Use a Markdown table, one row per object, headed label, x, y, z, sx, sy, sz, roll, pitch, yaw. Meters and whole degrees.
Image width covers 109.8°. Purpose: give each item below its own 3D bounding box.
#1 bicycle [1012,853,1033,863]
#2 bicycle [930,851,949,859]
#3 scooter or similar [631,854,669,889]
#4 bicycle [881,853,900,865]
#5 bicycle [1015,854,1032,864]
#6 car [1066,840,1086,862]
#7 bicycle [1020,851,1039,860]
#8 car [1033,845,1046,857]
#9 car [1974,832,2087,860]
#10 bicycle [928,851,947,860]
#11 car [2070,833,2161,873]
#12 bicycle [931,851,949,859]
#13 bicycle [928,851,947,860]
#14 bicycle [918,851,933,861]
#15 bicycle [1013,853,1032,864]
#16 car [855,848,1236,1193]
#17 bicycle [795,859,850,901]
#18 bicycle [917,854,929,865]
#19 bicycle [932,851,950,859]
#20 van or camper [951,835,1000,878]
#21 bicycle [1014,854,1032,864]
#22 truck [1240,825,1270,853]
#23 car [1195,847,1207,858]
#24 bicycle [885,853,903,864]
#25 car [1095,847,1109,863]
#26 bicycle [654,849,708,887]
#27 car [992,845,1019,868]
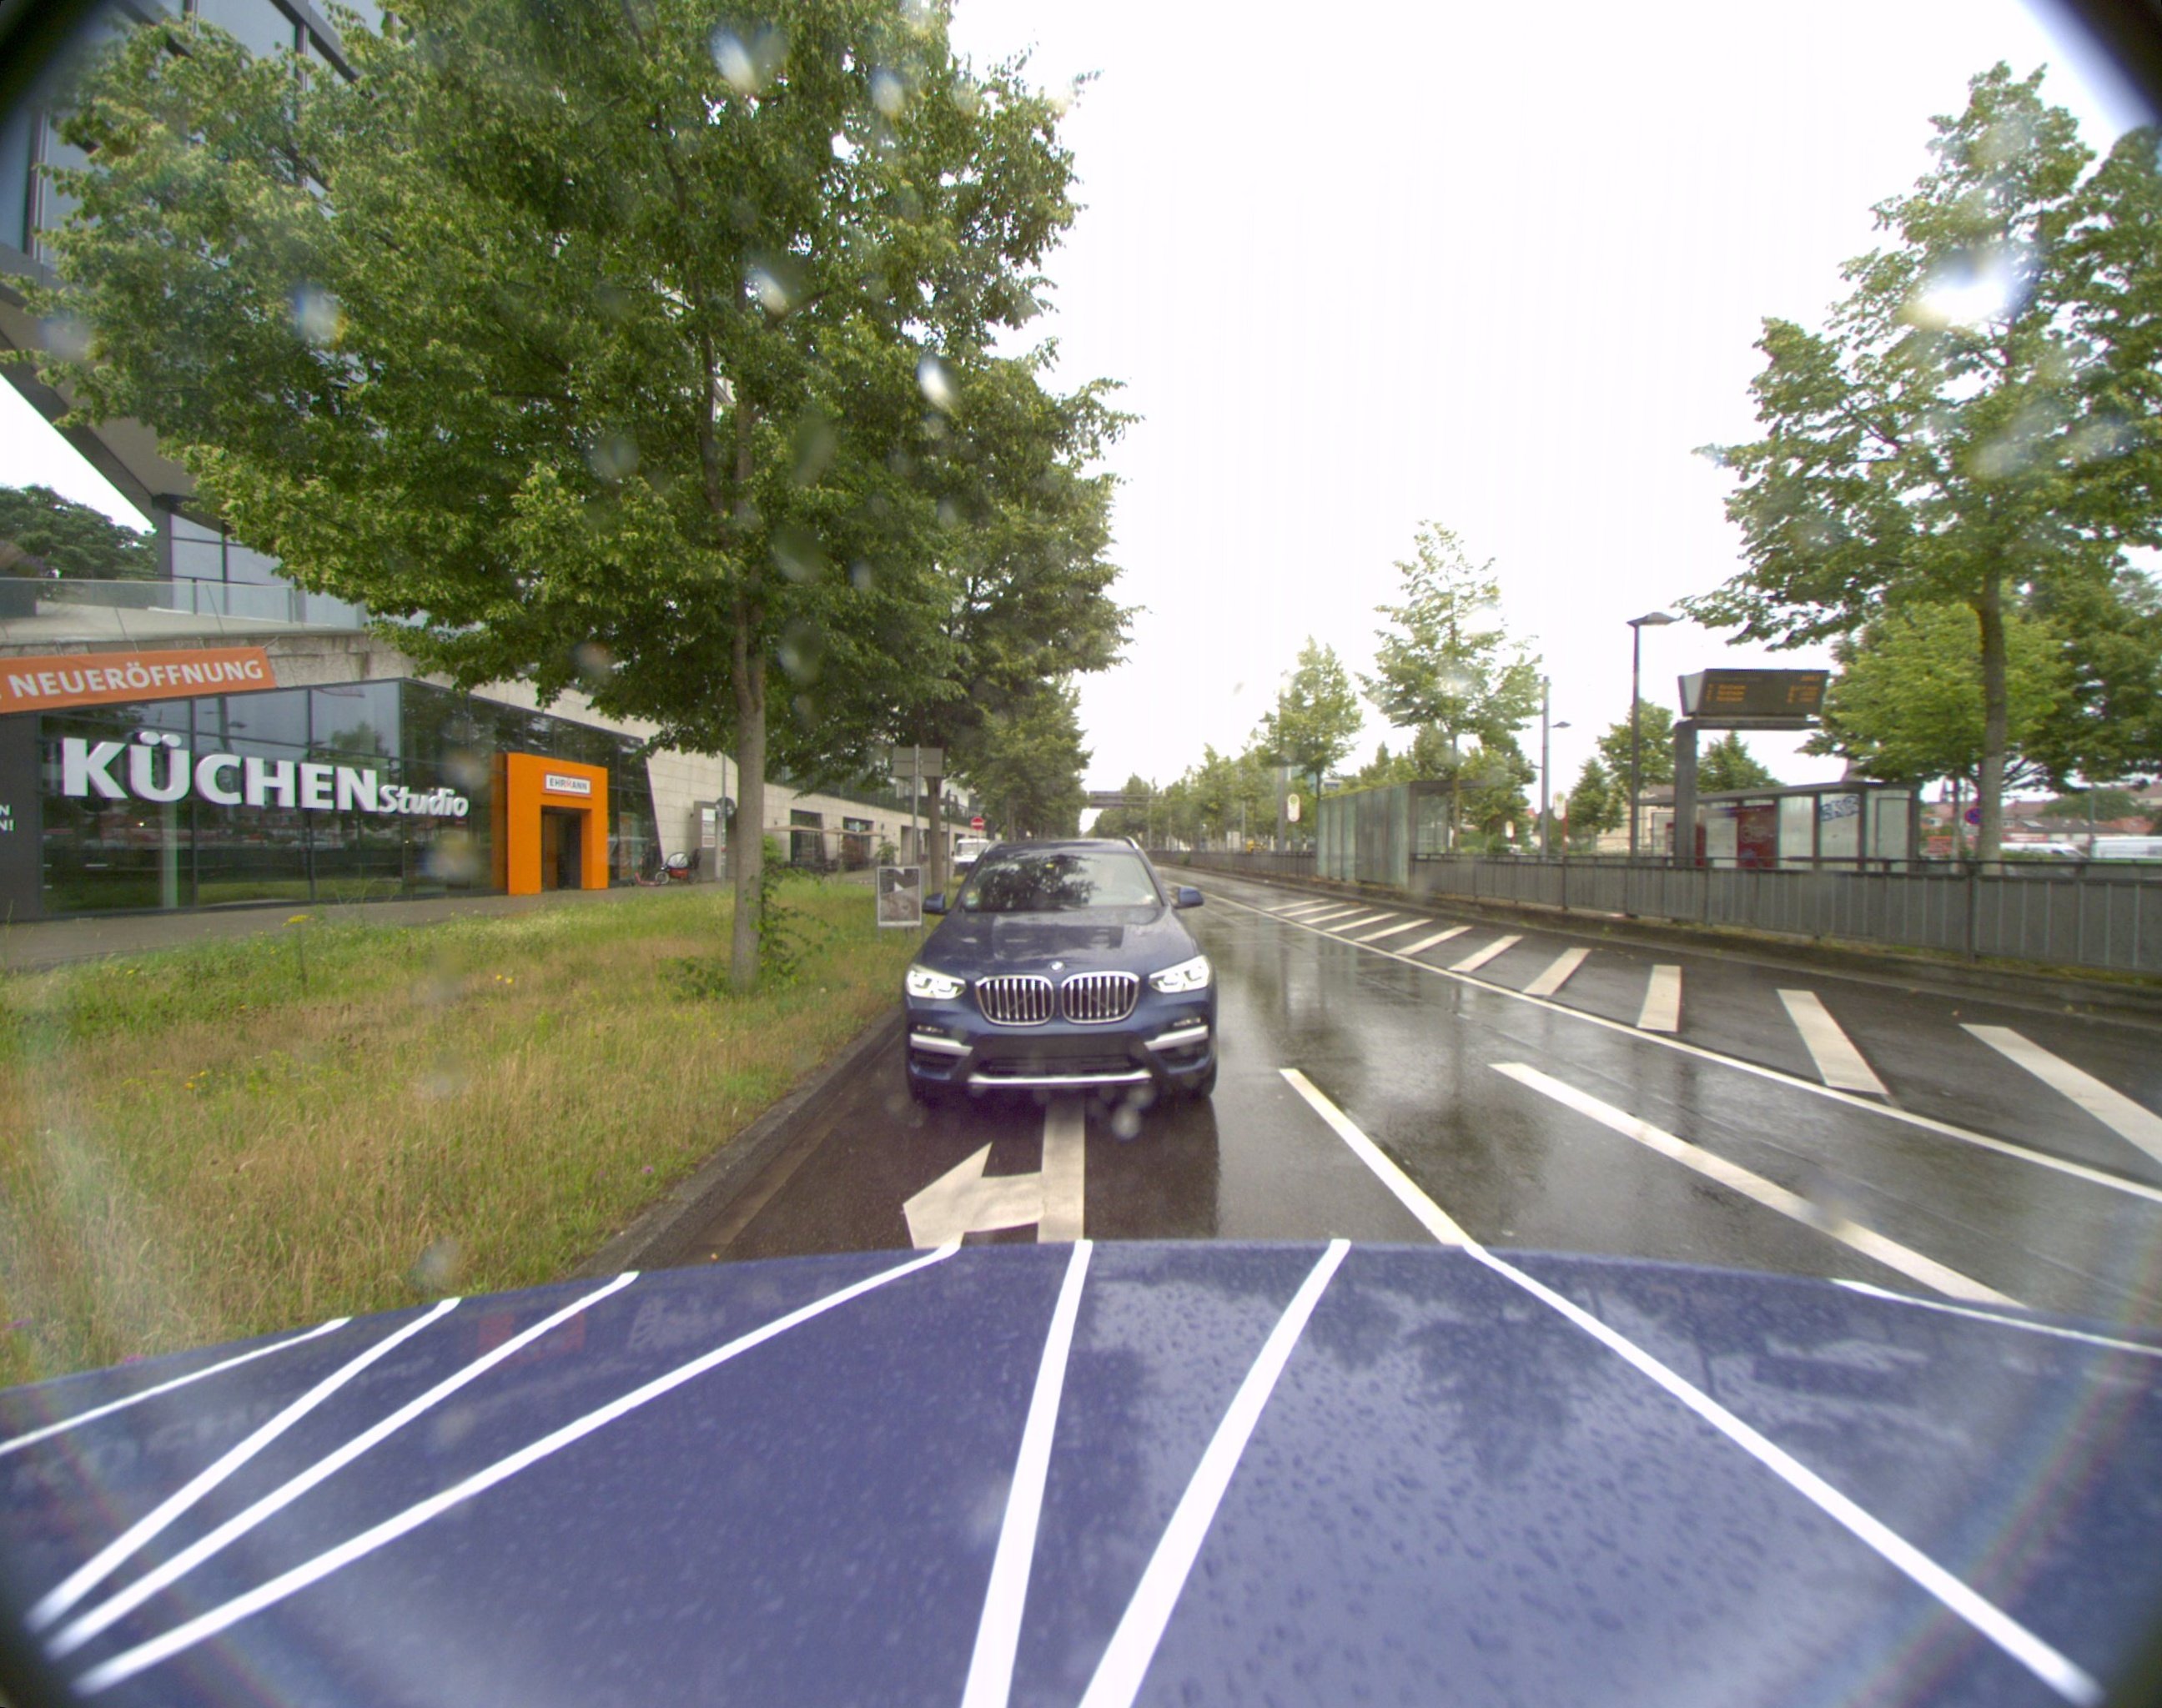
| label | x | y | z | sx | sy | sz | roll | pitch | yaw |
| --- | --- | --- | --- | --- | --- | --- | --- | --- | --- |
| bicycle | -5.853 | 0.404 | 76.409 | 2.040 | 0.940 | 0.395 | -2 | 2 | -4 |
| bicycle | -15.887 | 0.104 | 85.412 | 2.029 | 0.940 | 0.395 | 1 | 1 | -4 |
| scooter or similar | -15.685 | 0.626 | 27.683 | 0.342 | 1.221 | 1.242 | -2 | 2 | 19 |
| bicycle | -15.389 | 0.392 | 61.336 | 0.396 | 0.940 | 2.024 | -4 | 2 | -45 |
| bicycle | -5.580 | 0.463 | 73.652 | 1.649 | 0.940 | 0.395 | -2 | 2 | -4 |
| car | -0.477 | -0.382 | 81.661 | 1.998 | 2.232 | 3.999 | -2 | 1 | 1 |
| bicycle | -5.637 | 0.185 | 83.594 | 2.040 | 0.940 | 0.519 | -2 | 2 | -4 |
| car | -6.035 | -0.460 | 111.432 | 1.659 | 1.711 | 3.999 | -2 | 1 | 0 |
| car | 84.246 | -0.752 | 67.571 | 2.000 | 2.293 | 6.138 | -3 | 1 | -9 |
| bicycle | -15.818 | 0.138 | 83.547 | 2.029 | 0.940 | 0.395 | 1 | 1 | -4 |
| car | 70.003 | -0.079 | 49.552 | 1.999 | 2.448 | 6.744 | -2 | 1 | -4 |
| bicycle | -15.924 | 0.101 | 85.928 | 2.029 | 0.940 | 0.395 | 1 | 1 | -4 |
| bicycle | -15.879 | 0.129 | 84.297 | 2.029 | 0.940 | 0.395 | 1 | 1 | -4 |
| bicycle | -16.297 | 0.192 | 79.673 | 1.657 | 0.940 | 0.347 | 1 | 2 | 19 |
| bicycle | -5.737 | 0.431 | 74.921 | 1.862 | 0.940 | 0.395 | -2 | 2 | -4 |
| car | -0.142 | 0.814 | 5.754 | 1.816 | 1.603 | 3.999 | -2 | 1 | 1 |
| bicycle | -8.608 | 0.859 | 25.276 | 1.843 | 1.338 | 0.533 | -1 | 0 | 26 |
| bicycle | -13.212 | 0.457 | 63.512 | 0.402 | 0.940 | 1.859 | -1 | 1 | 8 |
| bicycle | -15.987 | 0.094 | 86.657 | 2.029 | 0.940 | 0.395 | 1 | 1 | -4 |
| van or camper | -5.936 | 0.096 | 43.351 | 2.030 | 2.279 | 5.458 | -1 | 1 | 0 |
| bicycle | -5.566 | 0.495 | 73.050 | 1.699 | 0.940 | 0.395 | -2 | 2 | -4 |
| truck | 25.658 | -2.230 | 112.462 | 2.693 | 3.756 | 9.182 | -2 | 1 | 3 |
| car | 22.859 | -0.355 | 144.610 | 1.761 | 2.002 | 3.999 | 0 | 1 | 0 |
| bicycle | -15.324 | 0.373 | 62.138 | 0.396 | 0.940 | 2.024 | -4 | 2 | -45 |
| car | 3.193 | 0.175 | 117.216 | 1.998 | 2.232 | 3.999 | -2 | 1 | 1 |
| bicycle | -15.460 | 0.534 | 29.450 | 0.734 | 1.394 | 2.425 | 1 | 0 | 1 |
| car | -6.118 | 0.161 | 62.177 | 1.746 | 1.749 | 4.847 | -1 | 1 | 0 |
